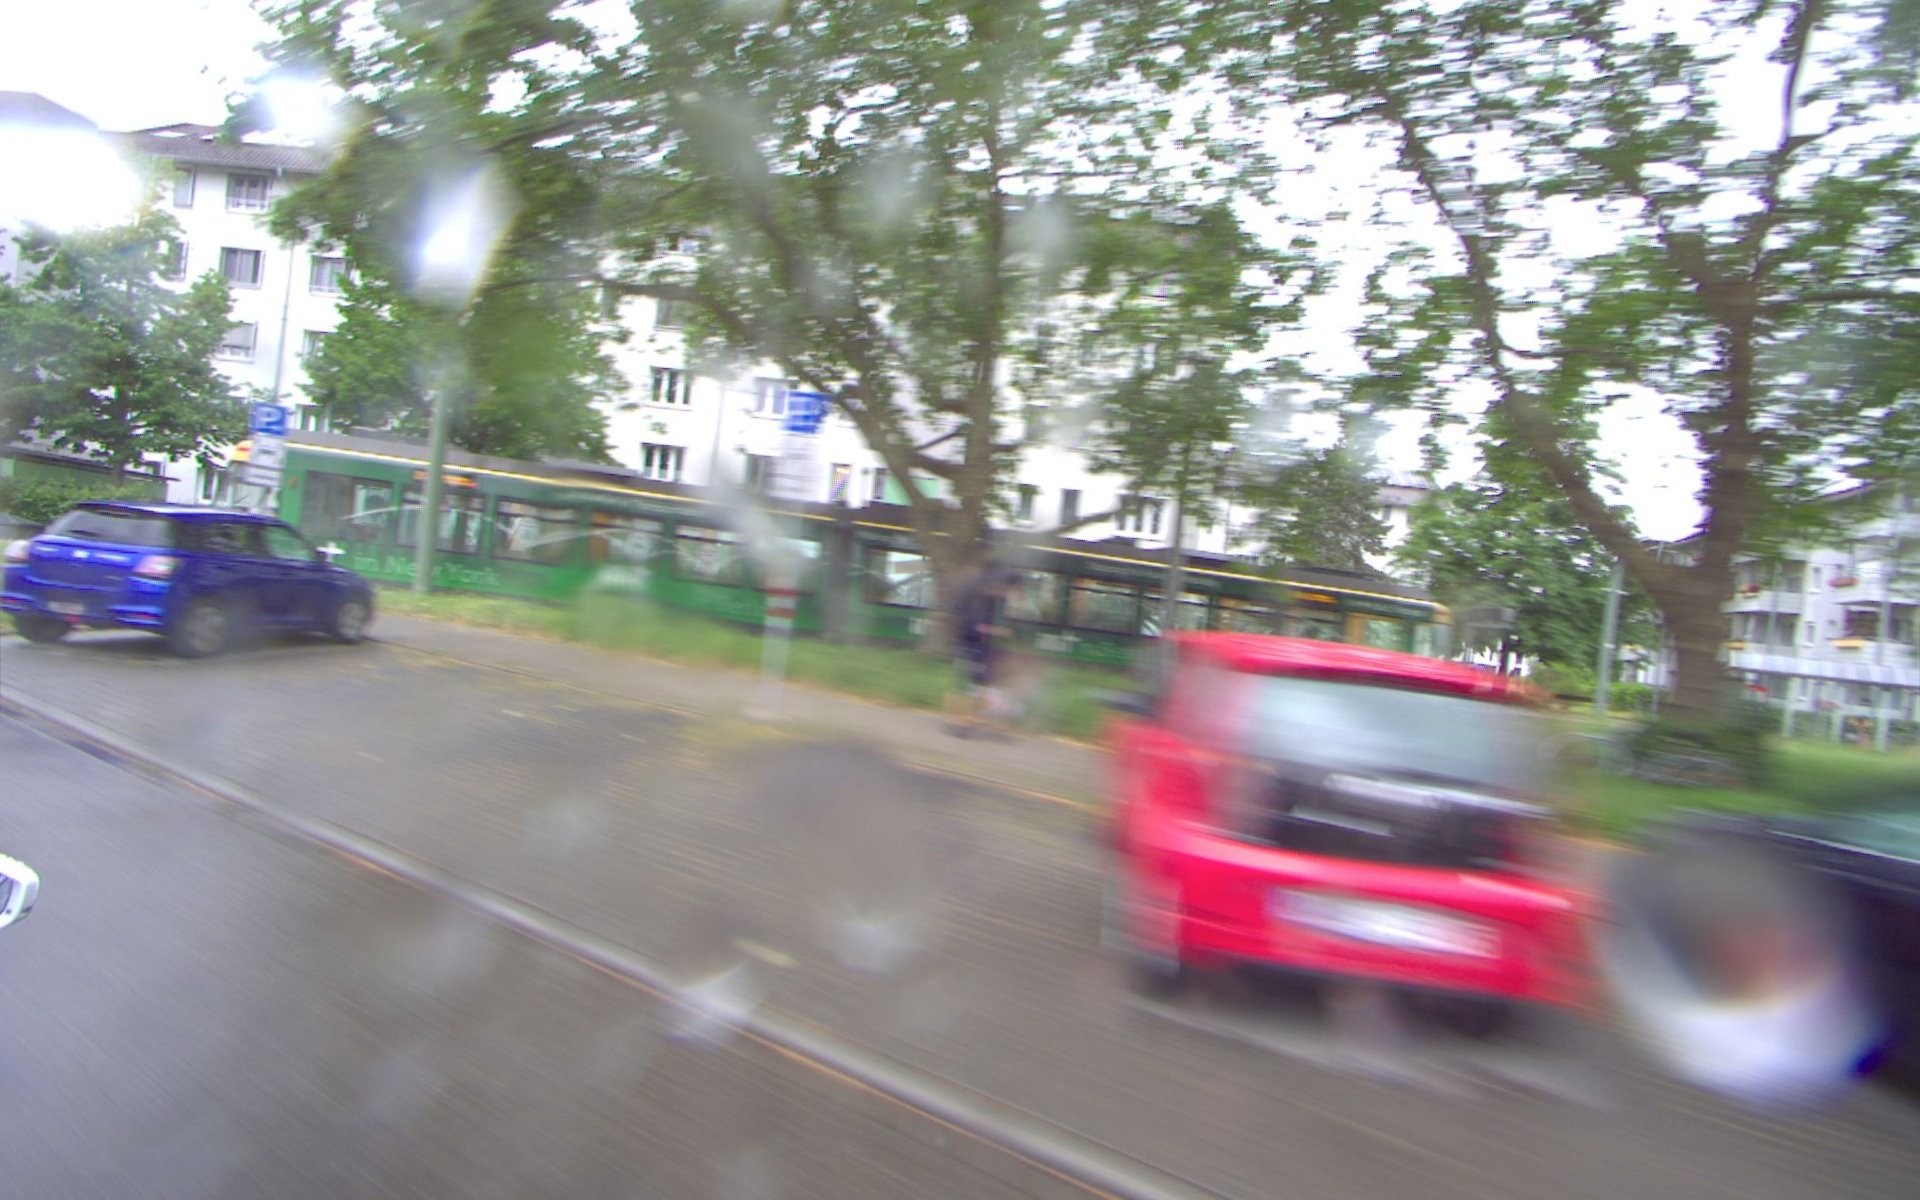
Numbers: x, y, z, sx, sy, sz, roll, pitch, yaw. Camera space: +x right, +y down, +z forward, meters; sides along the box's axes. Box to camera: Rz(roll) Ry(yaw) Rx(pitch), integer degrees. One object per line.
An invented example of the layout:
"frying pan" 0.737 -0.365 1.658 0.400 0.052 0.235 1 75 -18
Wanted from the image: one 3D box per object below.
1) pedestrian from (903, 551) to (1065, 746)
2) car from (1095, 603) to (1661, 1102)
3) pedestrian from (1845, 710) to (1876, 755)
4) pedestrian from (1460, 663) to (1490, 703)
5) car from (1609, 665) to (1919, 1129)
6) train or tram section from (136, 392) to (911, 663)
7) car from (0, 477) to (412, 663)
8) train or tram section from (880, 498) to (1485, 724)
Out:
"pedestrian" 0.251 0.463 9.964 1.062 1.736 1.045 7 1 32
"car" 1.660 0.872 5.284 1.606 1.499 3.598 6 1 5
"pedestrian" 33.615 4.931 37.548 0.626 1.592 0.788 4 -1 32
"pedestrian" 25.885 4.170 50.572 1.169 1.907 1.053 4 -1 26
"car" 4.350 1.219 3.131 1.832 1.499 4.119 6 1 0
"train or tram section" -8.571 -1.270 21.812 14.495 3.632 2.710 7 -1 -12
"car" -8.332 -0.298 11.327 1.963 1.501 3.999 8 0 0
"train or tram section" 5.531 0.433 24.776 14.495 3.632 2.710 7 -1 -12
